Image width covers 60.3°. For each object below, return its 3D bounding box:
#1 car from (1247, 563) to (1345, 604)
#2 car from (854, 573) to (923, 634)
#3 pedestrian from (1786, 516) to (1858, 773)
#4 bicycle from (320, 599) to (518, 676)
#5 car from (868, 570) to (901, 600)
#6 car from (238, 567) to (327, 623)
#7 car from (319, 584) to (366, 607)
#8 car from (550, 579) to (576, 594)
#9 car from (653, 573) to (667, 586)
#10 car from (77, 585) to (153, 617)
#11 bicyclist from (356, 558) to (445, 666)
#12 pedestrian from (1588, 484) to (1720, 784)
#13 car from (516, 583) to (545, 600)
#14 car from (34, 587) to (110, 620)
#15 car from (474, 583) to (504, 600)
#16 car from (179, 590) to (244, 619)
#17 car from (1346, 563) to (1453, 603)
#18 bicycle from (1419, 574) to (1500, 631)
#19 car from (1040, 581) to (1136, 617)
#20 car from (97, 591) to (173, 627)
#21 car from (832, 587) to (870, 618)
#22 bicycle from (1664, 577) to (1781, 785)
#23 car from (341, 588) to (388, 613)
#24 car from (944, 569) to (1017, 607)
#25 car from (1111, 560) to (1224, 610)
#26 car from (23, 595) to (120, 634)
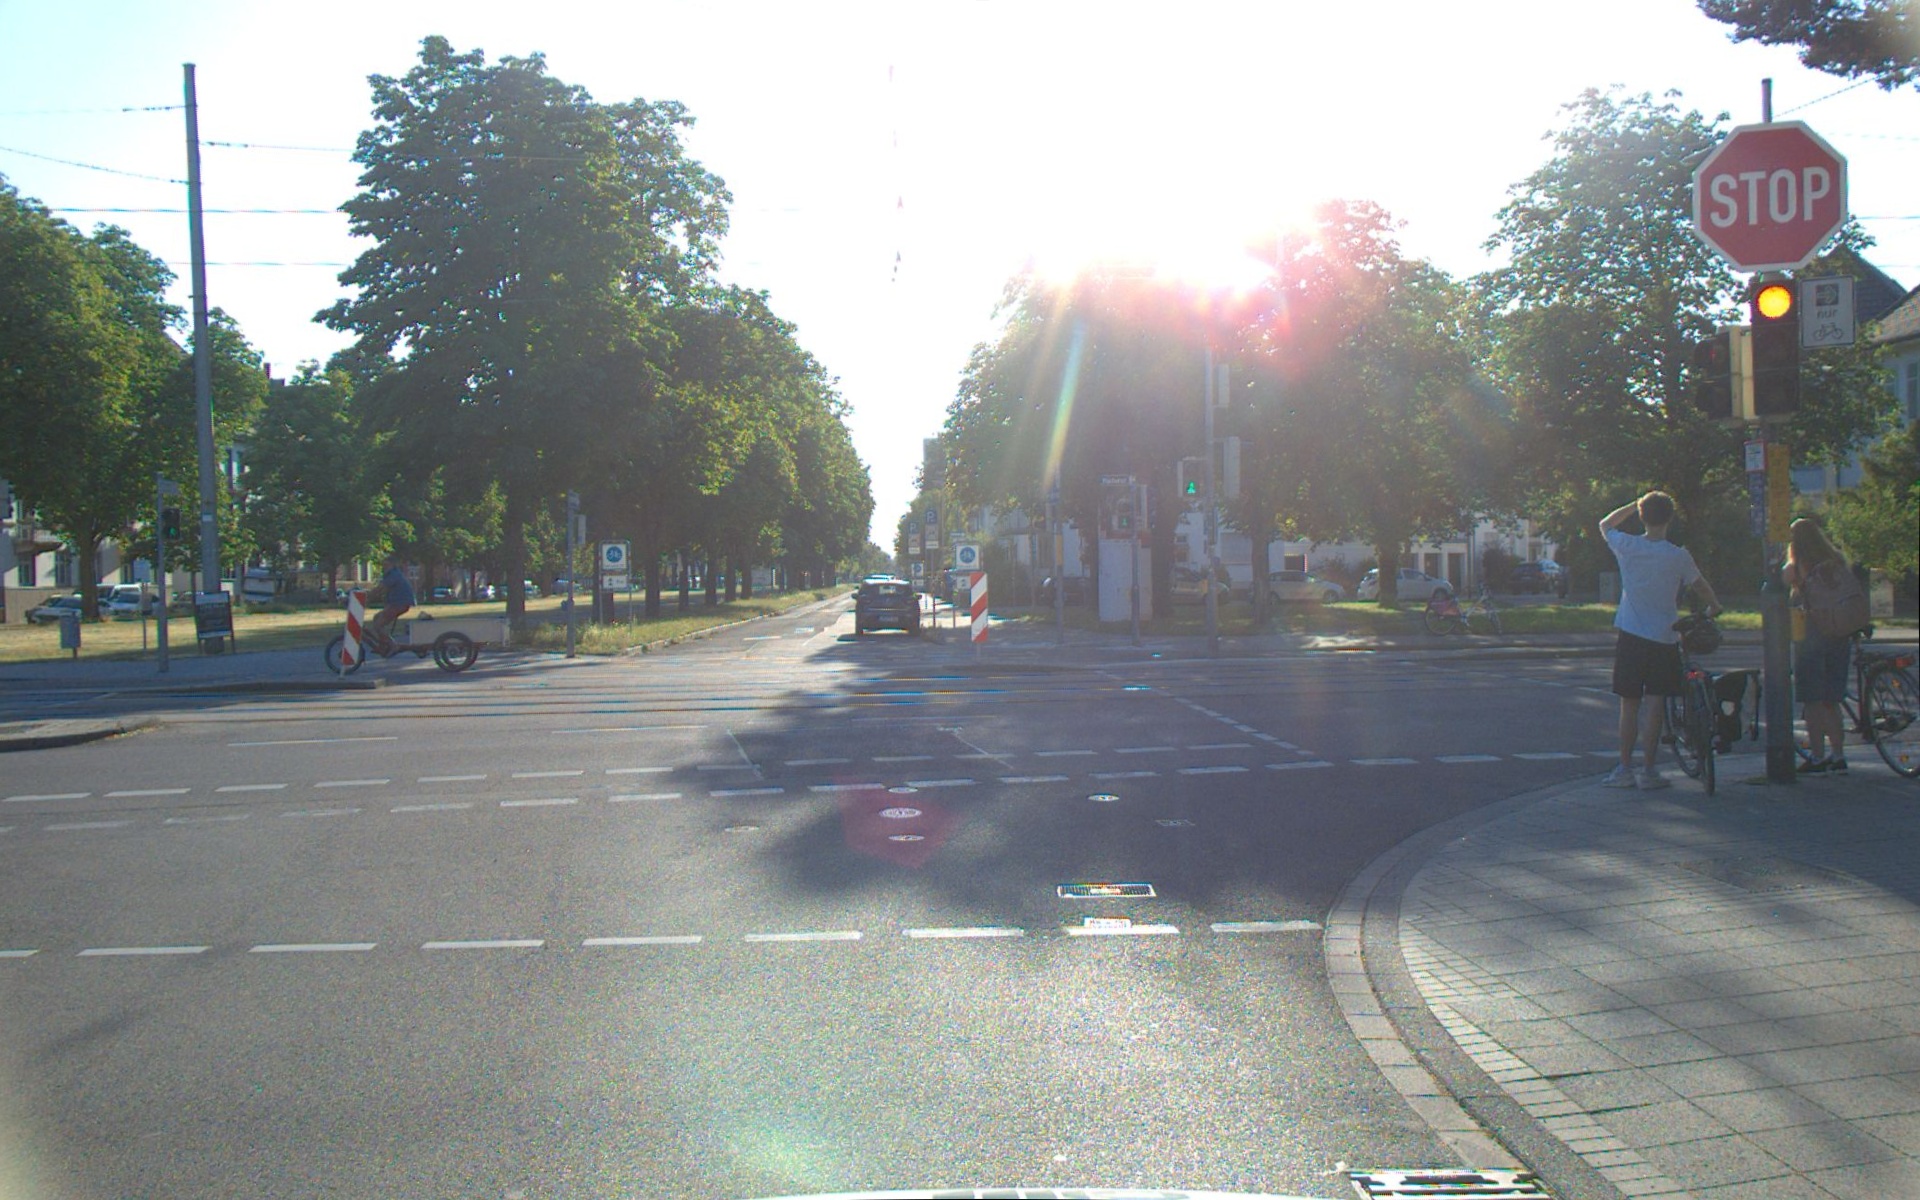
[{"bbox_3d":[13.273,-0.633,65.440,3.487,1.542,1.602,-1,0,-8],"label":"car"},{"bbox_3d":[-1.875,0.100,44.540,1.690,1.537,4.539,1,0,-1],"label":"car"},{"bbox_3d":[5.553,0.278,10.668,0.342,1.613,0.462,1,-1,20],"label":"pedestrian"},{"bbox_3d":[-9.080,0.622,27.822,3.009,1.182,0.875,-2,0,2],"label":"bicycle"},{"bbox_3d":[-4.757,-0.947,103.663,1.954,1.812,3.998,1,1,-3],"label":"car"},{"bbox_3d":[-41.065,-0.352,100.512,2.344,3.185,7.850,1,1,-2],"label":"car"},{"bbox_3d":[-46.984,-0.329,125.975,1.953,1.688,4.373,1,0,-1],"label":"car"},{"bbox_3d":[-44.760,-1.522,186.537,1.954,1.688,4.568,-1,1,-3],"label":"car"},{"bbox_3d":[-45.923,-3.126,253.313,1.621,1.972,3.565,1,-1,-3],"label":"car"},{"bbox_3d":[-46.994,0.055,92.092,1.953,1.688,4.569,1,0,-1],"label":"car"},{"bbox_3d":[-9.408,0.203,27.839,1.121,1.753,0.875,-2,0,2],"label":"bicyclist"},{"bbox_3d":[4.604,0.218,11.017,0.614,1.899,0.775,-4,0,18],"label":"pedestrian"},{"bbox_3d":[-43.306,-0.838,166.896,1.982,1.688,3.982,1,0,-2],"label":"car"},{"bbox_3d":[-45.840,0.179,85.488,1.681,1.661,4.190,1,0,-1],"label":"car"},{"bbox_3d":[-48.918,-0.891,171.908,1.953,1.688,4.354,1,0,-1],"label":"car"},{"bbox_3d":[-46.084,0.288,101.992,1.953,1.688,4.569,1,0,-1],"label":"car"},{"bbox_3d":[17.564,-0.678,66.192,3.847,1.550,1.521,0,-1,-8],"label":"car"},{"bbox_3d":[10.002,0.044,33.150,1.489,1.108,0.468,-1,2,7],"label":"bicycle"},{"bbox_3d":[5.472,-0.050,70.914,3.907,1.472,1.715,-1,0,-3],"label":"car"},{"bbox_3d":[-40.358,0.419,81.015,1.760,1.581,4.416,1,1,-4],"label":"car"},{"bbox_3d":[-5.127,0.124,78.171,1.675,1.383,4.201,1,0,-2],"label":"car"},{"bbox_3d":[4.865,0.457,10.625,0.560,1.204,1.905,1,1,22],"label":"bicycle"},{"bbox_3d":[-41.738,0.020,115.998,1.841,1.703,4.313,1,0,-2],"label":"car"},{"bbox_3d":[1.127,-0.686,93.503,3.911,1.854,1.757,-2,-5,-7],"label":"car"},{"bbox_3d":[8.202,-0.586,65.675,4.157,1.908,2.029,-1,0,-3],"label":"car"},{"bbox_3d":[-40.199,0.664,74.989,1.953,1.688,4.569,1,0,-1],"label":"car"}]
